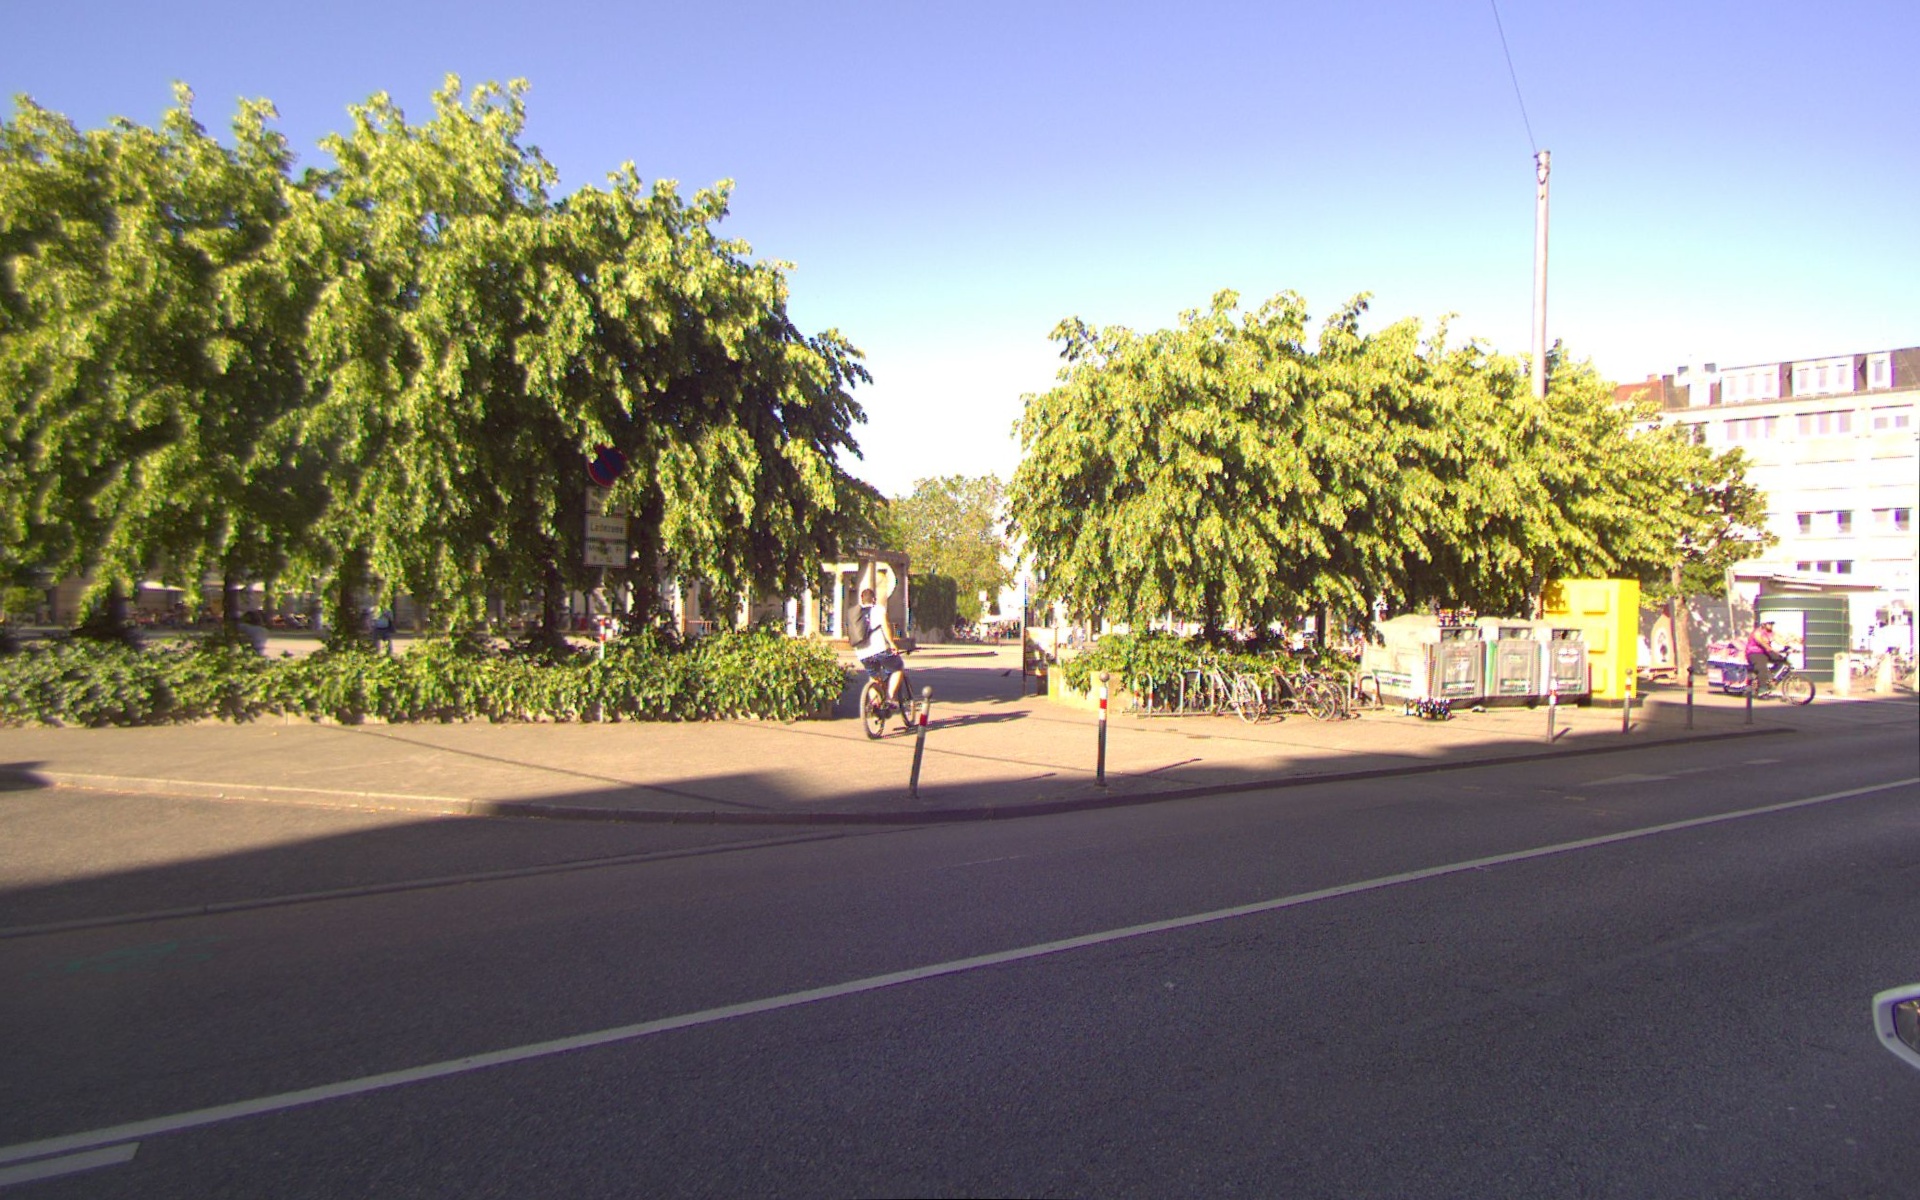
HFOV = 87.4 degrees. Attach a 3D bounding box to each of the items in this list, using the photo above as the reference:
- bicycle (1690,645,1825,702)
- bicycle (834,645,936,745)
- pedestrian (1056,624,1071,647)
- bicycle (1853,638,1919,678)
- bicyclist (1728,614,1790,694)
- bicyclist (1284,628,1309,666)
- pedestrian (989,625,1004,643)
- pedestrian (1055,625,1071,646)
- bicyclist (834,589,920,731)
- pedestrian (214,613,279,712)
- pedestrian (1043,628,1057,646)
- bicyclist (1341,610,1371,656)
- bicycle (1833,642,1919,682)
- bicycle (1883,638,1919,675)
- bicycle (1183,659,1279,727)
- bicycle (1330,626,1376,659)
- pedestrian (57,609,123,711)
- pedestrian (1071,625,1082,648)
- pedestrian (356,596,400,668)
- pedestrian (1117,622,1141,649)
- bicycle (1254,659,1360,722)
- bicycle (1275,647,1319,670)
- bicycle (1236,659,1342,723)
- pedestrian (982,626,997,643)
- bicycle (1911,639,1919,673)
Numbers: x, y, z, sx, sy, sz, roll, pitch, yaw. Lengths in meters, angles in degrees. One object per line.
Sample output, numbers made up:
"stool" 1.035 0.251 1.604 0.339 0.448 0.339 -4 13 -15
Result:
"bicycle" 18.213 1.654 23.025 0.702 1.166 2.385 2 -1 -23
"bicycle" -0.941 1.193 13.168 0.593 1.116 1.990 2 0 18
"pedestrian" 7.204 2.477 69.955 0.904 1.541 0.936 2 0 15
"bicycle" 33.134 2.042 35.062 0.923 1.291 2.764 2 0 -32
"bicyclist" 18.255 1.231 22.950 0.671 1.778 0.862 2 -1 -22
"bicyclist" 12.604 1.775 37.628 0.566 1.399 0.706 2 -3 -17
"pedestrian" 3.154 2.936 86.812 0.867 1.557 0.894 2 0 33
"pedestrian" 7.582 2.609 73.773 1.003 1.541 1.036 2 0 15
"bicyclist" -1.054 0.744 12.894 0.773 1.722 0.896 2 0 18
"pedestrian" -10.861 0.934 15.298 0.581 1.456 0.615 2 0 33
"pedestrian" 6.348 2.618 70.703 0.882 1.230 0.867 2 0 13
"bicyclist" 15.347 1.268 38.948 0.692 1.732 0.807 2 0 -15
"bicycle" 31.212 2.066 33.759 0.932 1.211 2.645 2 0 -32
"bicycle" 35.253 2.087 36.128 0.932 1.287 2.859 2 0 -32
"bicycle" 4.165 1.412 15.523 0.464 0.897 1.558 2 0 -29
"bicycle" 15.295 1.655 39.152 0.608 1.178 1.951 2 0 -16
"pedestrian" -12.868 0.871 14.881 0.615 1.456 0.647 2 0 -32
"pedestrian" 8.081 2.503 69.698 0.761 1.541 0.838 2 0 6
"pedestrian" -12.761 0.686 22.034 0.688 1.541 0.676 2 0 -41
"pedestrian" 11.843 2.488 70.342 1.290 1.867 1.089 2 0 -40
"bicycle" 5.664 1.455 16.477 0.465 0.870 1.654 2 0 -35
"bicycle" 12.597 2.190 37.606 0.571 0.834 1.853 1 -3 -17
"bicycle" 5.265 1.444 16.181 0.465 0.870 1.659 2 0 -35
"pedestrian" 2.545 2.996 87.681 0.867 1.497 0.940 2 0 42
"bicycle" 37.236 2.158 37.272 0.932 1.276 2.648 2 0 -32
